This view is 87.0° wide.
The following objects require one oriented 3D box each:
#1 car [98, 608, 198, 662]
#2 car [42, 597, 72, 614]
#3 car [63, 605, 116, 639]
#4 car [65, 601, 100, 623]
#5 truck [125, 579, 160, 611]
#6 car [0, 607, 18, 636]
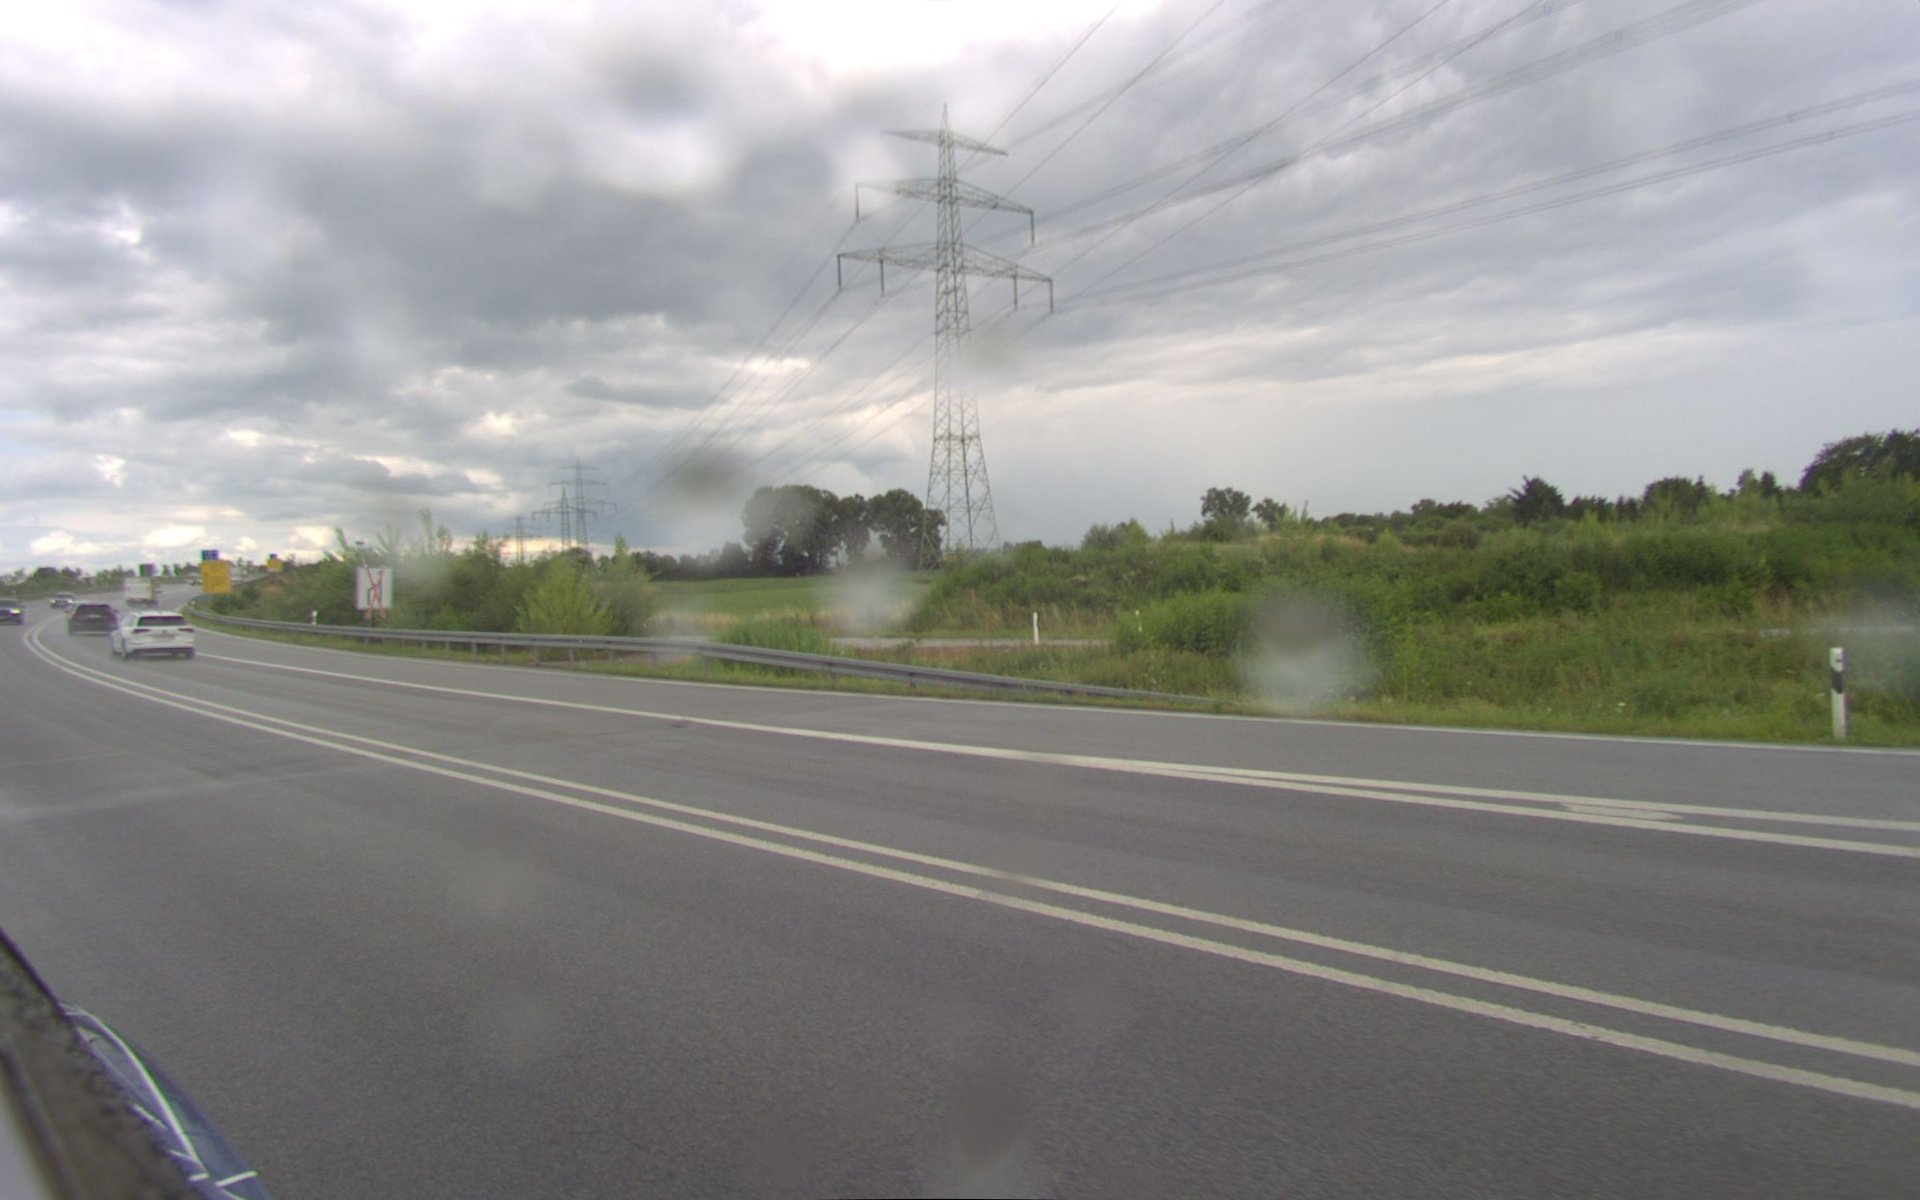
[{"bbox_3d":[-25.429,1.038,31.640,4.609,1.491,1.687,0,1,41],"label":"car"},{"bbox_3d":[-88.039,0.557,98.717,1.721,1.508,4.060,-2,1,-36],"label":"car"},{"bbox_3d":[-43.664,1.061,50.752,1.778,1.586,4.263,1,0,-44],"label":"car"},{"bbox_3d":[-61.414,0.857,70.885,1.658,1.468,4.083,0,-1,-38],"label":"car"},{"bbox_3d":[-83.902,-0.532,103.889,2.226,3.180,6.707,1,0,-34],"label":"truck"},{"bbox_3d":[-62.353,1.384,65.471,1.769,1.782,4.007,0,-1,-39],"label":"car"}]
